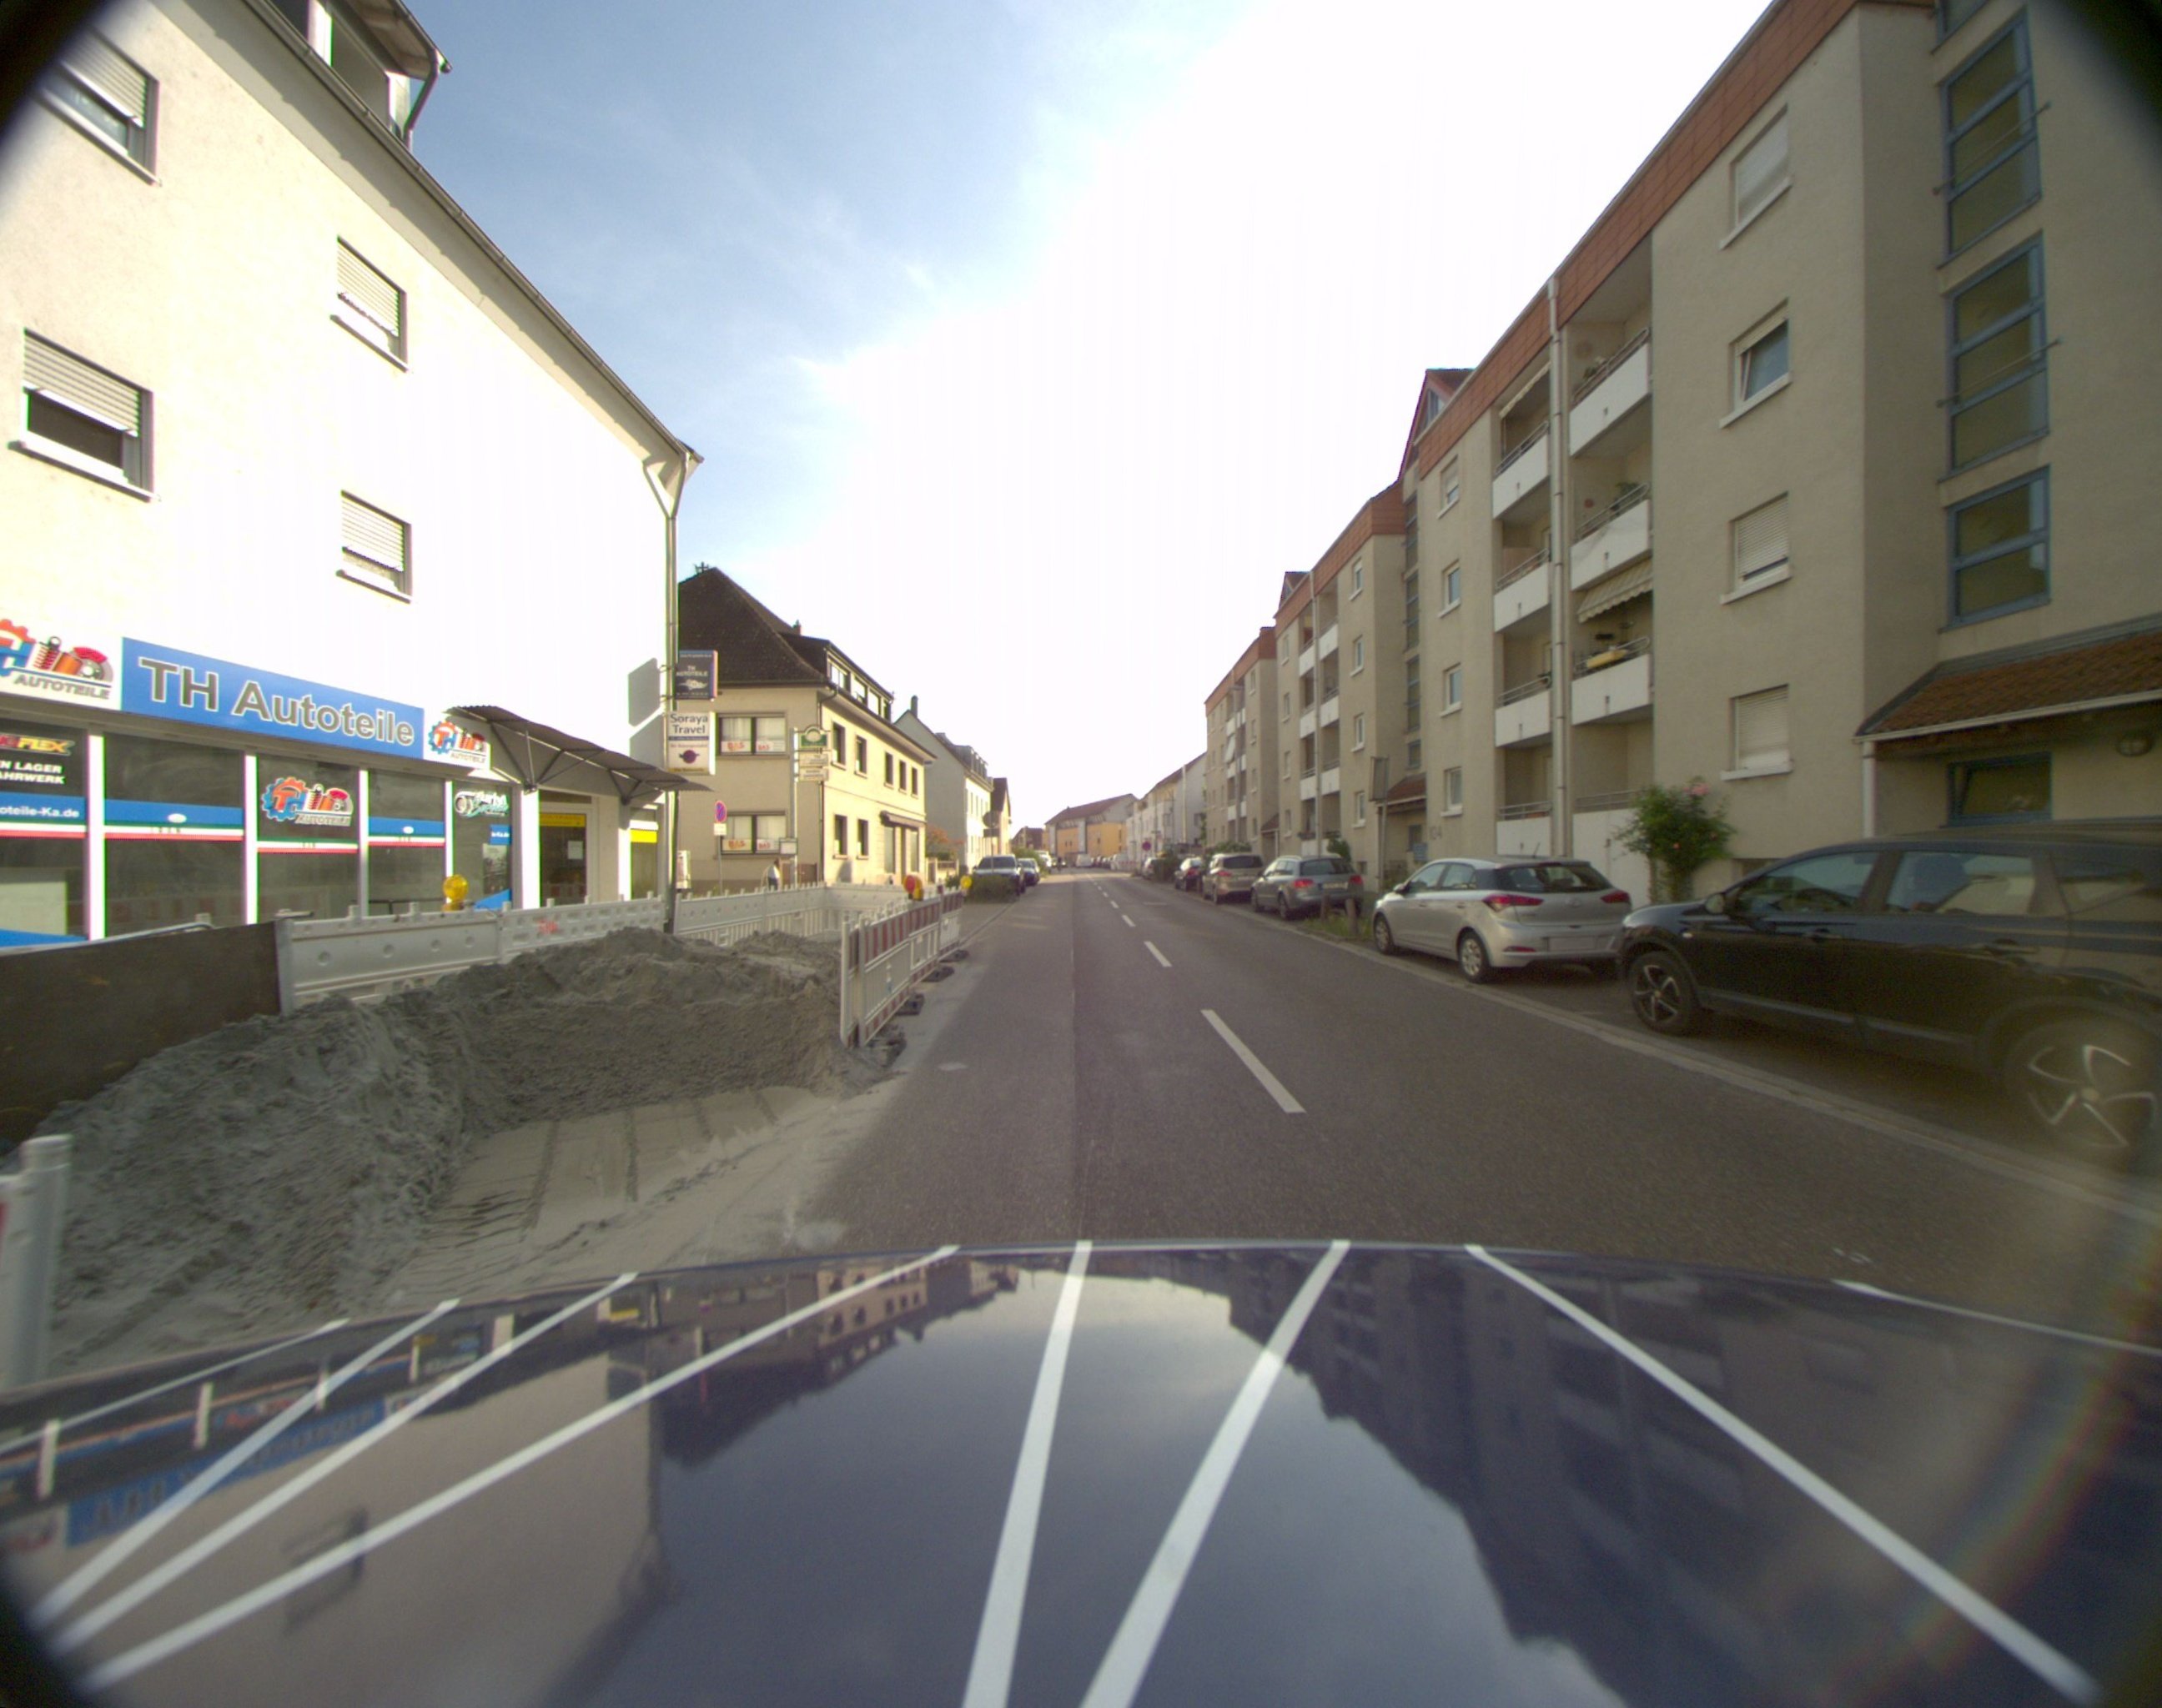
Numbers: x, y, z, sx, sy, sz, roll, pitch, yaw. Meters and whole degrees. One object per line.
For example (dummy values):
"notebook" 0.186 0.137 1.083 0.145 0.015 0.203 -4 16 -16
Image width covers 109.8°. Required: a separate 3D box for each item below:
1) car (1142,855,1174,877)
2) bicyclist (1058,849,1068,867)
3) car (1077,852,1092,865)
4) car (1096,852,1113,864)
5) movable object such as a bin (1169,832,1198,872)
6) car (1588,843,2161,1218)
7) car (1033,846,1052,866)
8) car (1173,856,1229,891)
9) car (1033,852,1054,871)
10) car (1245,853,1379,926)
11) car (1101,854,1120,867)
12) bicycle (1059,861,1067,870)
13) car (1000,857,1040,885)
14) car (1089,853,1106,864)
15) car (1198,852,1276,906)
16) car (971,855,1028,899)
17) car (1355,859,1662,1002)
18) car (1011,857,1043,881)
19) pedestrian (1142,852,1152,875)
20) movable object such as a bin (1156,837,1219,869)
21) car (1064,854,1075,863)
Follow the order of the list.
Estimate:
"car" 5.198 0.791 51.467 1.645 1.387 3.670 -1 0 -2
"bicyclist" -1.705 0.394 71.064 0.845 1.680 0.877 -1 1 -5
"car" 0.451 0.598 102.567 1.927 1.756 4.337 0 0 -2
"car" 3.212 0.557 105.220 1.733 1.612 4.260 -1 0 -8
"movable object such as a bin" 8.332 -0.123 62.010 1.652 3.120 3.899 0 0 -2
"car" 5.478 0.755 4.705 1.690 1.594 4.369 -1 0 -1
"car" -4.689 0.267 92.511 2.180 2.313 4.996 1 0 -3
"car" 5.170 0.793 33.131 1.690 1.397 4.083 -2 0 -1
"car" -3.533 0.701 72.856 1.817 1.674 4.476 1 0 -1
"car" 5.415 0.761 18.442 1.812 1.512 4.370 -2 0 -1
"car" 3.875 0.842 99.479 1.733 1.469 4.260 -3 0 -8
"bicycle" -1.684 1.078 70.975 0.680 0.849 2.026 -1 0 -5
"car" -3.241 0.887 41.405 1.834 1.412 4.608 0 0 0
"car" 2.396 0.660 110.177 1.733 1.469 4.500 -2 0 -8
"car" 4.992 0.738 24.793 1.731 1.546 3.965 -2 0 1
"car" -3.203 0.851 30.739 1.834 1.620 4.462 0 0 0
"car" 5.244 0.817 10.066 1.690 1.446 4.140 -2 0 -1
"car" -3.346 0.902 47.477 1.784 1.412 4.495 -1 0 -1
"pedestrian" 5.225 0.774 60.188 0.720 1.808 0.745 -1 0 0
"movable object such as a bin" 10.178 -0.129 72.541 5.517 2.883 2.110 -2 0 -12
"car" -1.855 0.756 124.433 1.622 1.446 3.684 0 0 -3
